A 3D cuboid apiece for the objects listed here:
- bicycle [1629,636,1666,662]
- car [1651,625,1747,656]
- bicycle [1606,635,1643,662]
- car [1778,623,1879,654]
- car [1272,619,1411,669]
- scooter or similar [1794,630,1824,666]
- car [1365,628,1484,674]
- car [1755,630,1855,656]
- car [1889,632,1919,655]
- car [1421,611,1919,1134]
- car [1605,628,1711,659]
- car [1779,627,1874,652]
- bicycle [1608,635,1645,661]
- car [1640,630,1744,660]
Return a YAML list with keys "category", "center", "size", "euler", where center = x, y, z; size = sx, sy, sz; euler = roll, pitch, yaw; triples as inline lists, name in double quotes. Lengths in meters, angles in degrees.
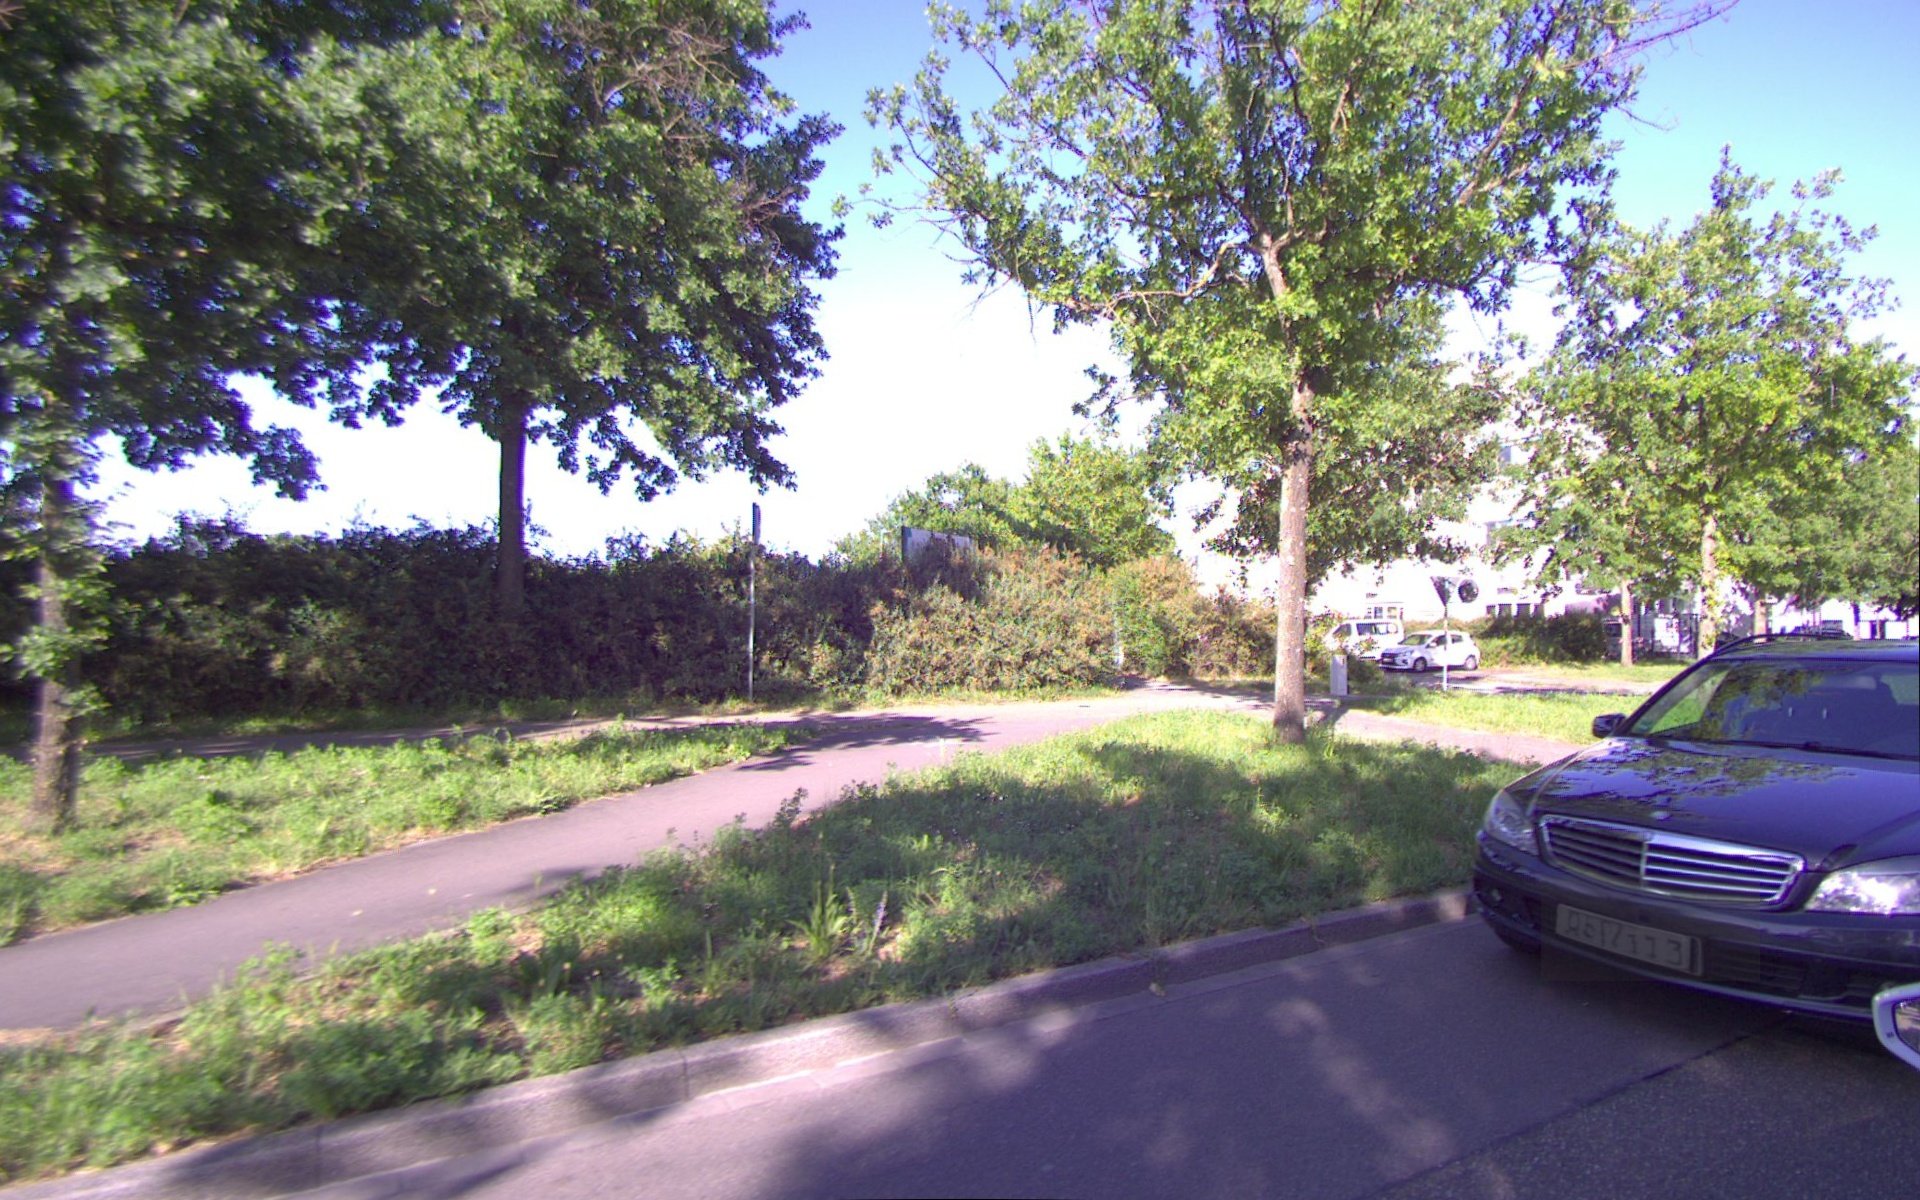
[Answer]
- category: "bicycle"
  center: [29.875, 2.101, 43.627]
  size: [1.870, 1.102, 0.636]
  euler: [1, -1, -32]
- category: "car"
  center: [39.599, 2.145, 53.923]
  size: [3.928, 1.531, 1.798]
  euler: [-1, 0, 30]
- category: "bicycle"
  center: [28.540, 2.080, 43.151]
  size: [1.870, 1.102, 0.636]
  euler: [1, -1, -32]
- category: "car"
  center: [58.851, 2.615, 68.170]
  size: [4.761, 2.040, 2.001]
  euler: [0, -1, 17]
- category: "car"
  center: [16.387, 1.842, 43.190]
  size: [5.358, 1.841, 2.298]
  euler: [-2, 0, -20]
- category: "scooter or similar"
  center: [31.296, 1.761, 37.022]
  size: [1.424, 1.296, 0.393]
  euler: [1, -1, -31]
- category: "car"
  center: [17.691, 1.915, 38.288]
  size: [3.857, 1.525, 1.991]
  euler: [-2, -1, -20]
- category: "car"
  center: [48.326, 2.466, 57.550]
  size: [3.874, 1.420, 2.001]
  euler: [0, -1, 17]
- category: "car"
  center: [69.463, 3.136, 72.001]
  size: [1.932, 1.639, 3.742]
  euler: [1, -1, -17]
- category: "car"
  center: [4.350, 0.866, 4.790]
  size: [4.445, 1.549, 1.756]
  euler: [1, -3, -32]
- category: "car"
  center: [34.627, 2.136, 49.908]
  size: [3.918, 1.467, 1.802]
  euler: [0, -1, 11]
- category: "car"
  center: [67.552, 3.054, 78.436]
  size: [2.109, 1.841, 5.303]
  euler: [1, -1, -16]
- category: "bicycle"
  center: [29.624, 2.127, 44.640]
  size: [1.870, 1.102, 0.636]
  euler: [1, -1, -32]
- category: "car"
  center: [37.689, 2.311, 51.803]
  size: [3.919, 1.467, 1.802]
  euler: [0, -1, 16]
